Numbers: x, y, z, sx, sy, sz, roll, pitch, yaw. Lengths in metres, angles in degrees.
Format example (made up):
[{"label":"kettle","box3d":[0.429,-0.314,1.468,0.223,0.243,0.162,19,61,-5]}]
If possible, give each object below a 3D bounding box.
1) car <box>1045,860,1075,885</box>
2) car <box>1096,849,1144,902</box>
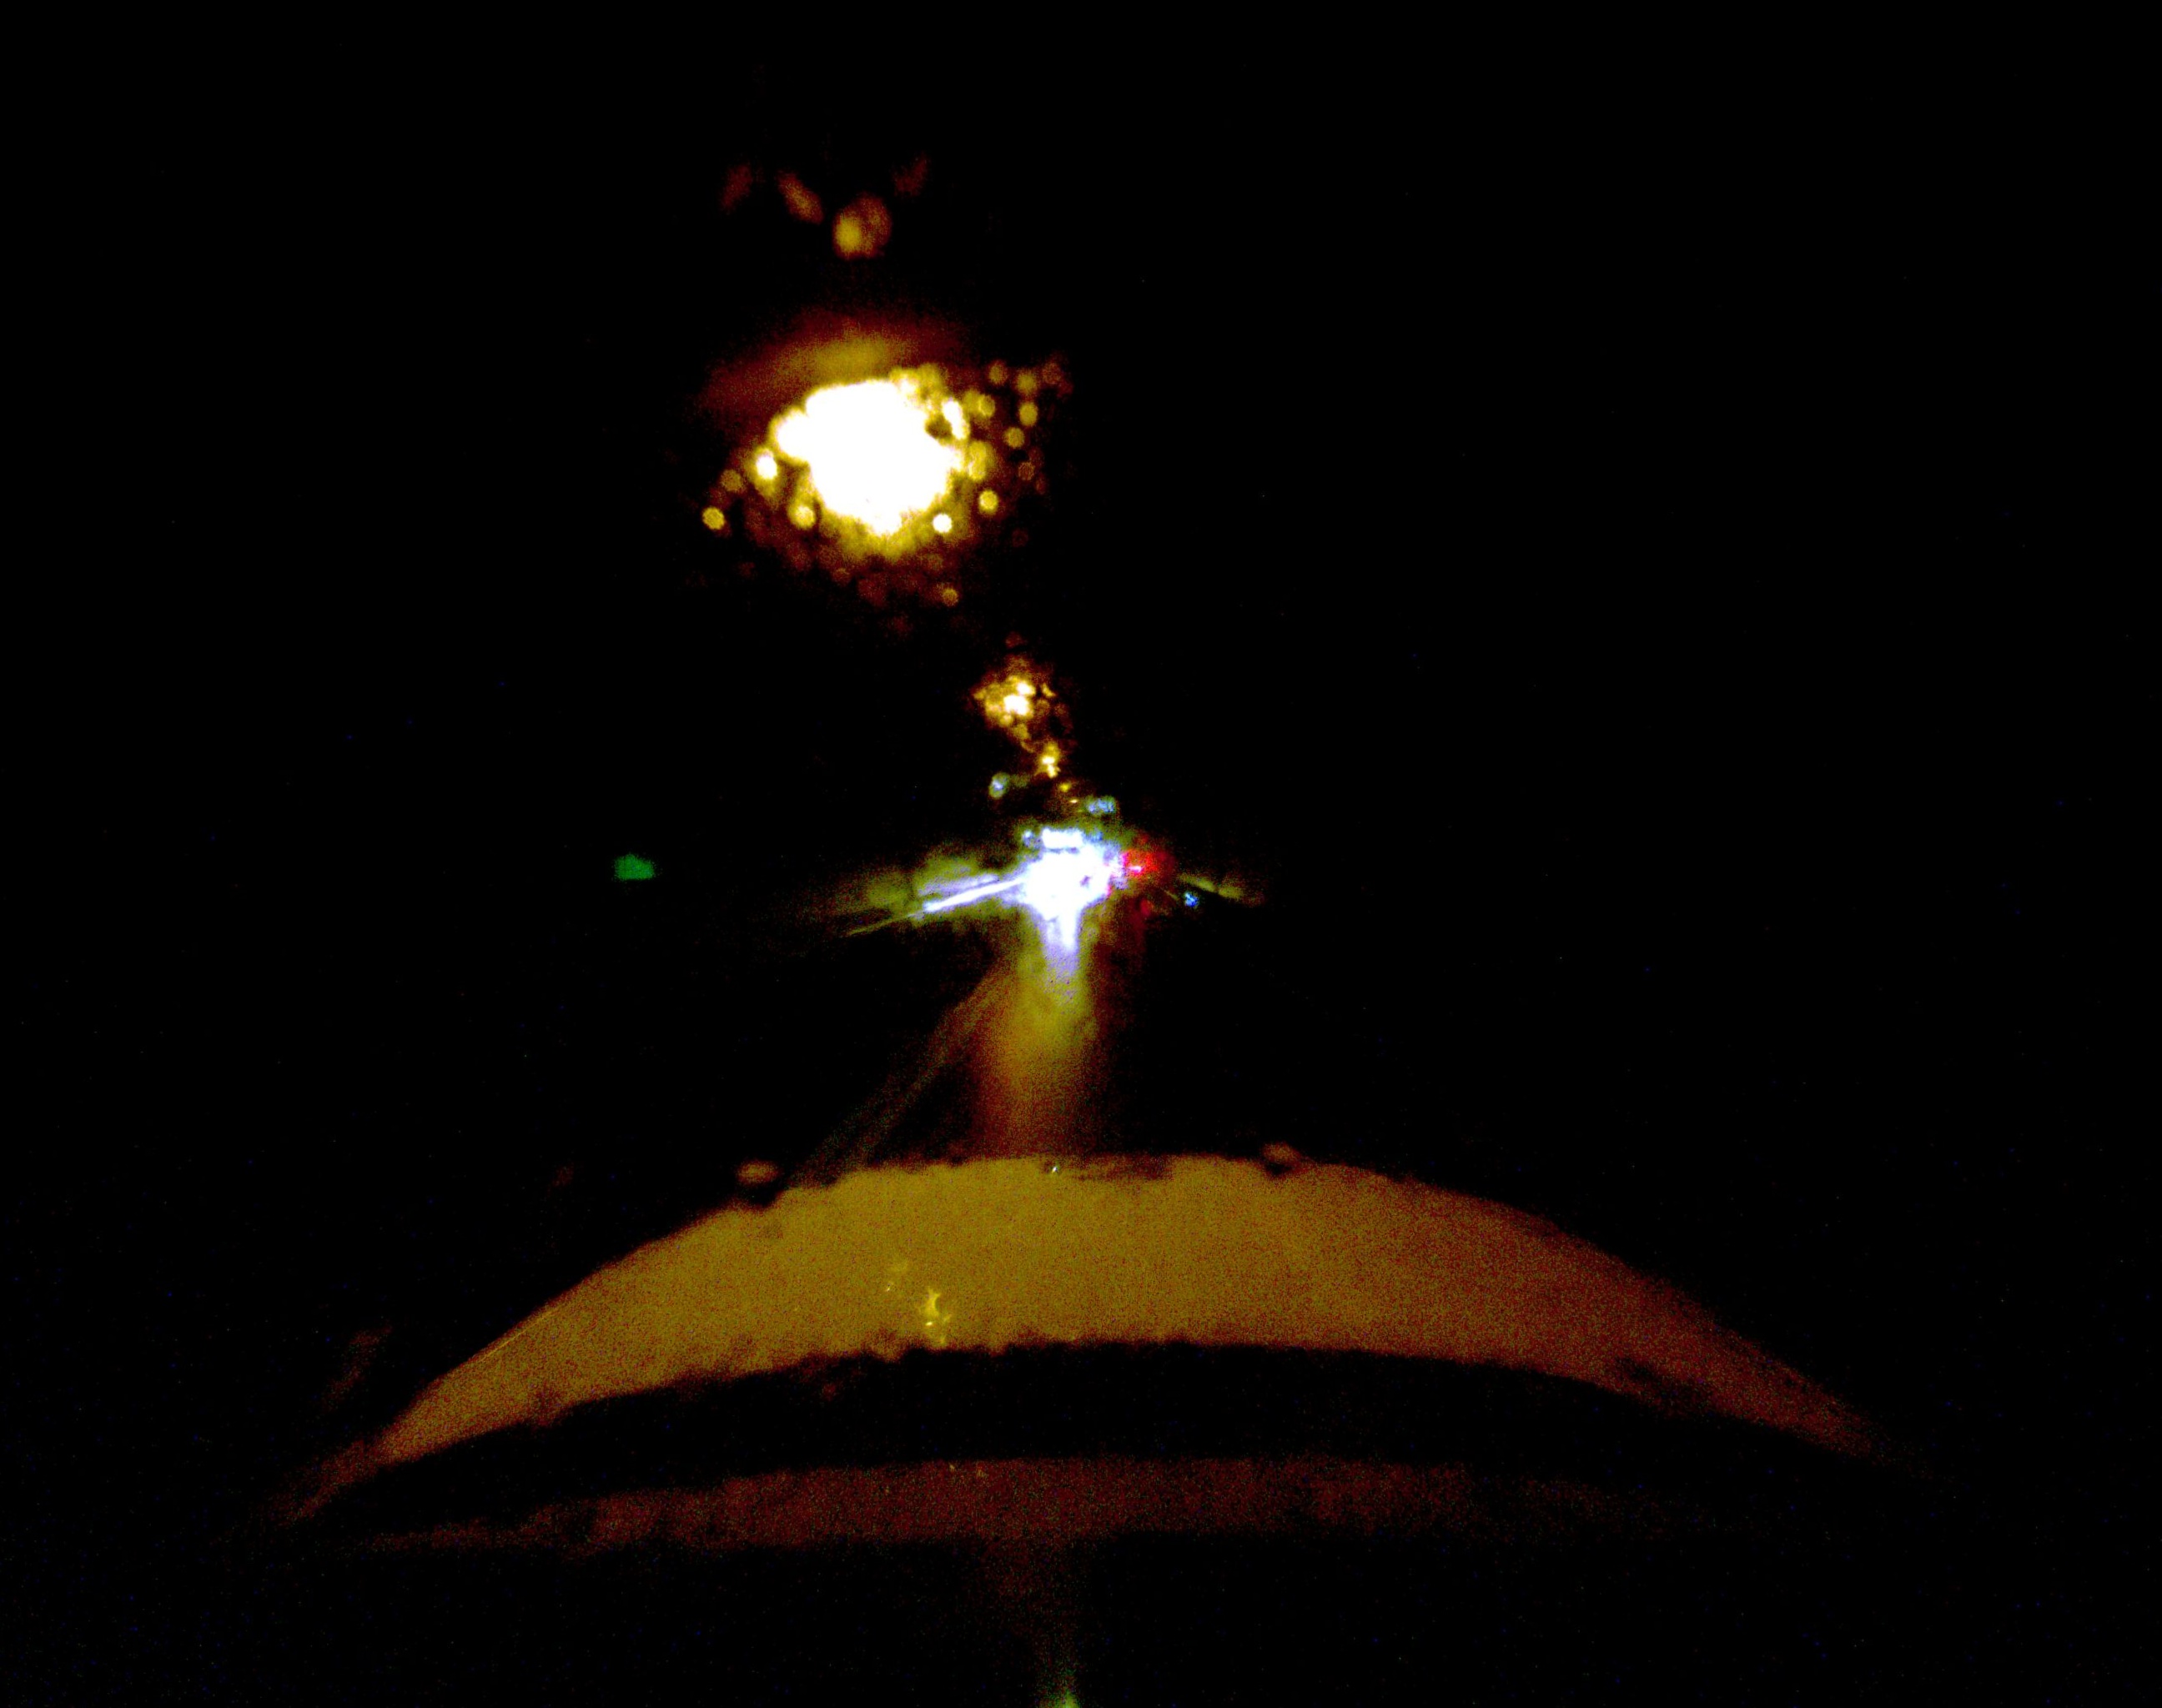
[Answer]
[{"label":"car","box3d":[-1.433,1.256,55.869,1.628,1.535,3.650,-2,0,4]},{"label":"car","box3d":[1.454,0.742,30.462,1.629,1.758,4.148,-2,0,2]}]
